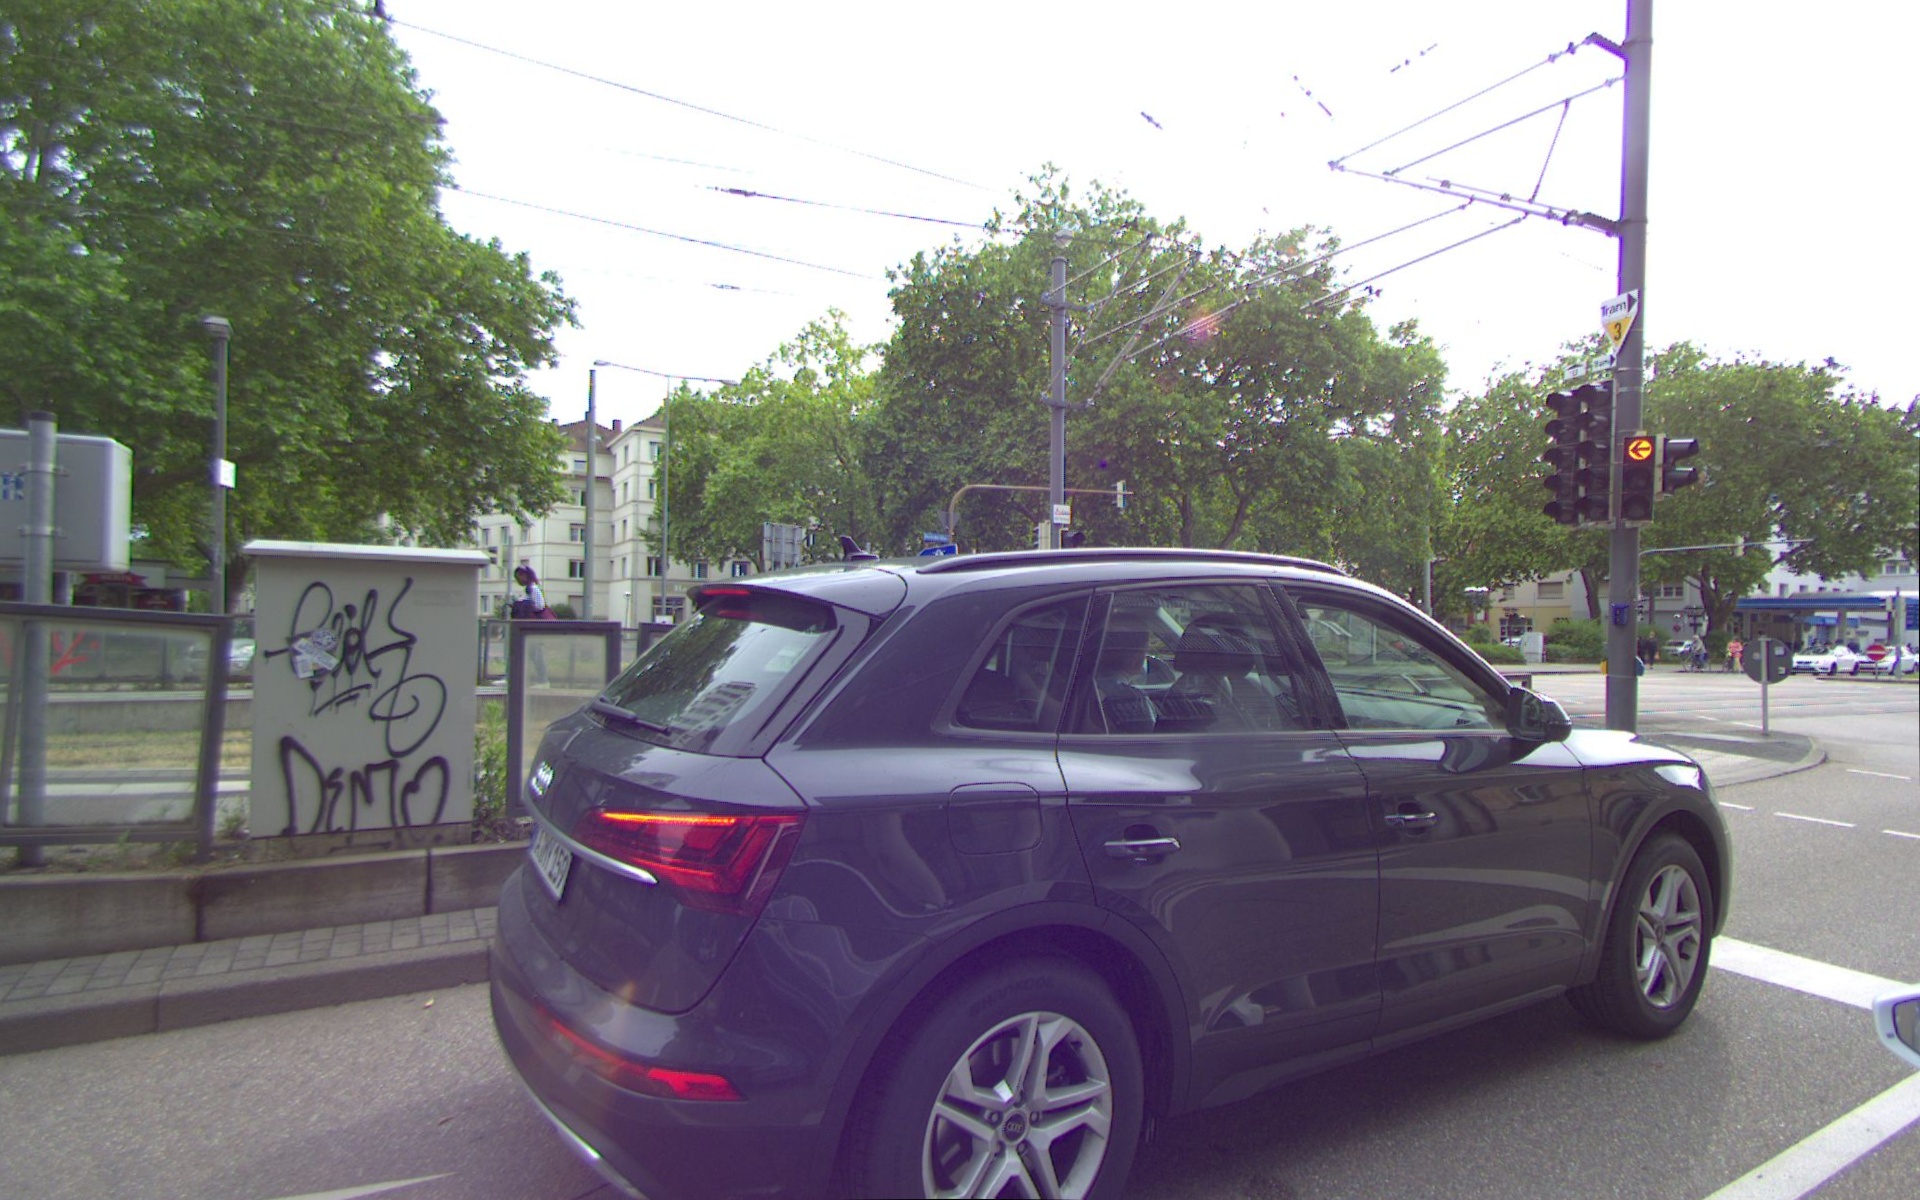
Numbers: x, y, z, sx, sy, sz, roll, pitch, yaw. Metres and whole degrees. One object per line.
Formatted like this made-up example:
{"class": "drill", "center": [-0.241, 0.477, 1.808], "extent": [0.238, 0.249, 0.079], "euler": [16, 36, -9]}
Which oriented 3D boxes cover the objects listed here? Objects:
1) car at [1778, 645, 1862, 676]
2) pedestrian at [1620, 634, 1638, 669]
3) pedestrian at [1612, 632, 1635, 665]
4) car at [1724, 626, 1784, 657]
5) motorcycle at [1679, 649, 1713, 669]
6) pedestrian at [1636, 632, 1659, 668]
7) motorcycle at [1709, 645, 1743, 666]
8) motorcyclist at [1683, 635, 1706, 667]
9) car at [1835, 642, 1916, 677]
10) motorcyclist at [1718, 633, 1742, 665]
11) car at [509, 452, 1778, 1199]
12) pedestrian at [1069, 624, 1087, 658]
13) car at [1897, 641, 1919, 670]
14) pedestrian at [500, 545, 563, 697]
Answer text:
{"class": "car", "center": [41.395, 2.912, 48.346], "extent": [4.025, 1.338, 1.739], "euler": [2, 0, -29]}
{"class": "pedestrian", "center": [33.662, 2.567, 50.557], "extent": [0.678, 1.735, 0.868], "euler": [1, -1, 28]}
{"class": "pedestrian", "center": [35.530, 2.613, 53.795], "extent": [0.732, 1.713, 0.681], "euler": [2, 0, -25]}
{"class": "car", "center": [54.909, 2.894, 69.477], "extent": [3.953, 2.040, 1.984], "euler": [2, -1, -30]}
{"class": "motorcycle", "center": [35.947, 2.863, 49.030], "extent": [1.928, 0.941, 0.604], "euler": [2, -1, -30]}
{"class": "pedestrian", "center": [34.382, 2.501, 50.258], "extent": [0.860, 1.735, 0.873], "euler": [0, -1, 29]}
{"class": "motorcycle", "center": [36.931, 2.670, 48.435], "extent": [1.928, 0.941, 0.604], "euler": [2, -1, -30]}
{"class": "motorcyclist", "center": [35.806, 2.484, 48.948], "extent": [0.863, 1.540, 0.617], "euler": [2, -1, -30]}
{"class": "car", "center": [46.980, 3.025, 51.523], "extent": [3.953, 1.615, 1.984], "euler": [2, 0, -30]}
{"class": "motorcyclist", "center": [37.237, 2.369, 48.574], "extent": [0.863, 1.540, 0.617], "euler": [2, -1, -30]}
{"class": "car", "center": [0.828, 0.637, 3.461], "extent": [4.177, 1.658, 1.725], "euler": [2, 0, -30]}
{"class": "pedestrian", "center": [5.310, 1.841, 45.258], "extent": [0.644, 1.530, 0.683], "euler": [1, -1, -3]}
{"class": "car", "center": [52.784, 3.037, 54.605], "extent": [3.593, 1.497, 1.649], "euler": [2, 0, -29]}
{"class": "pedestrian", "center": [-5.763, 0.280, 13.508], "extent": [0.658, 1.976, 0.732], "euler": [2, 0, -30]}
